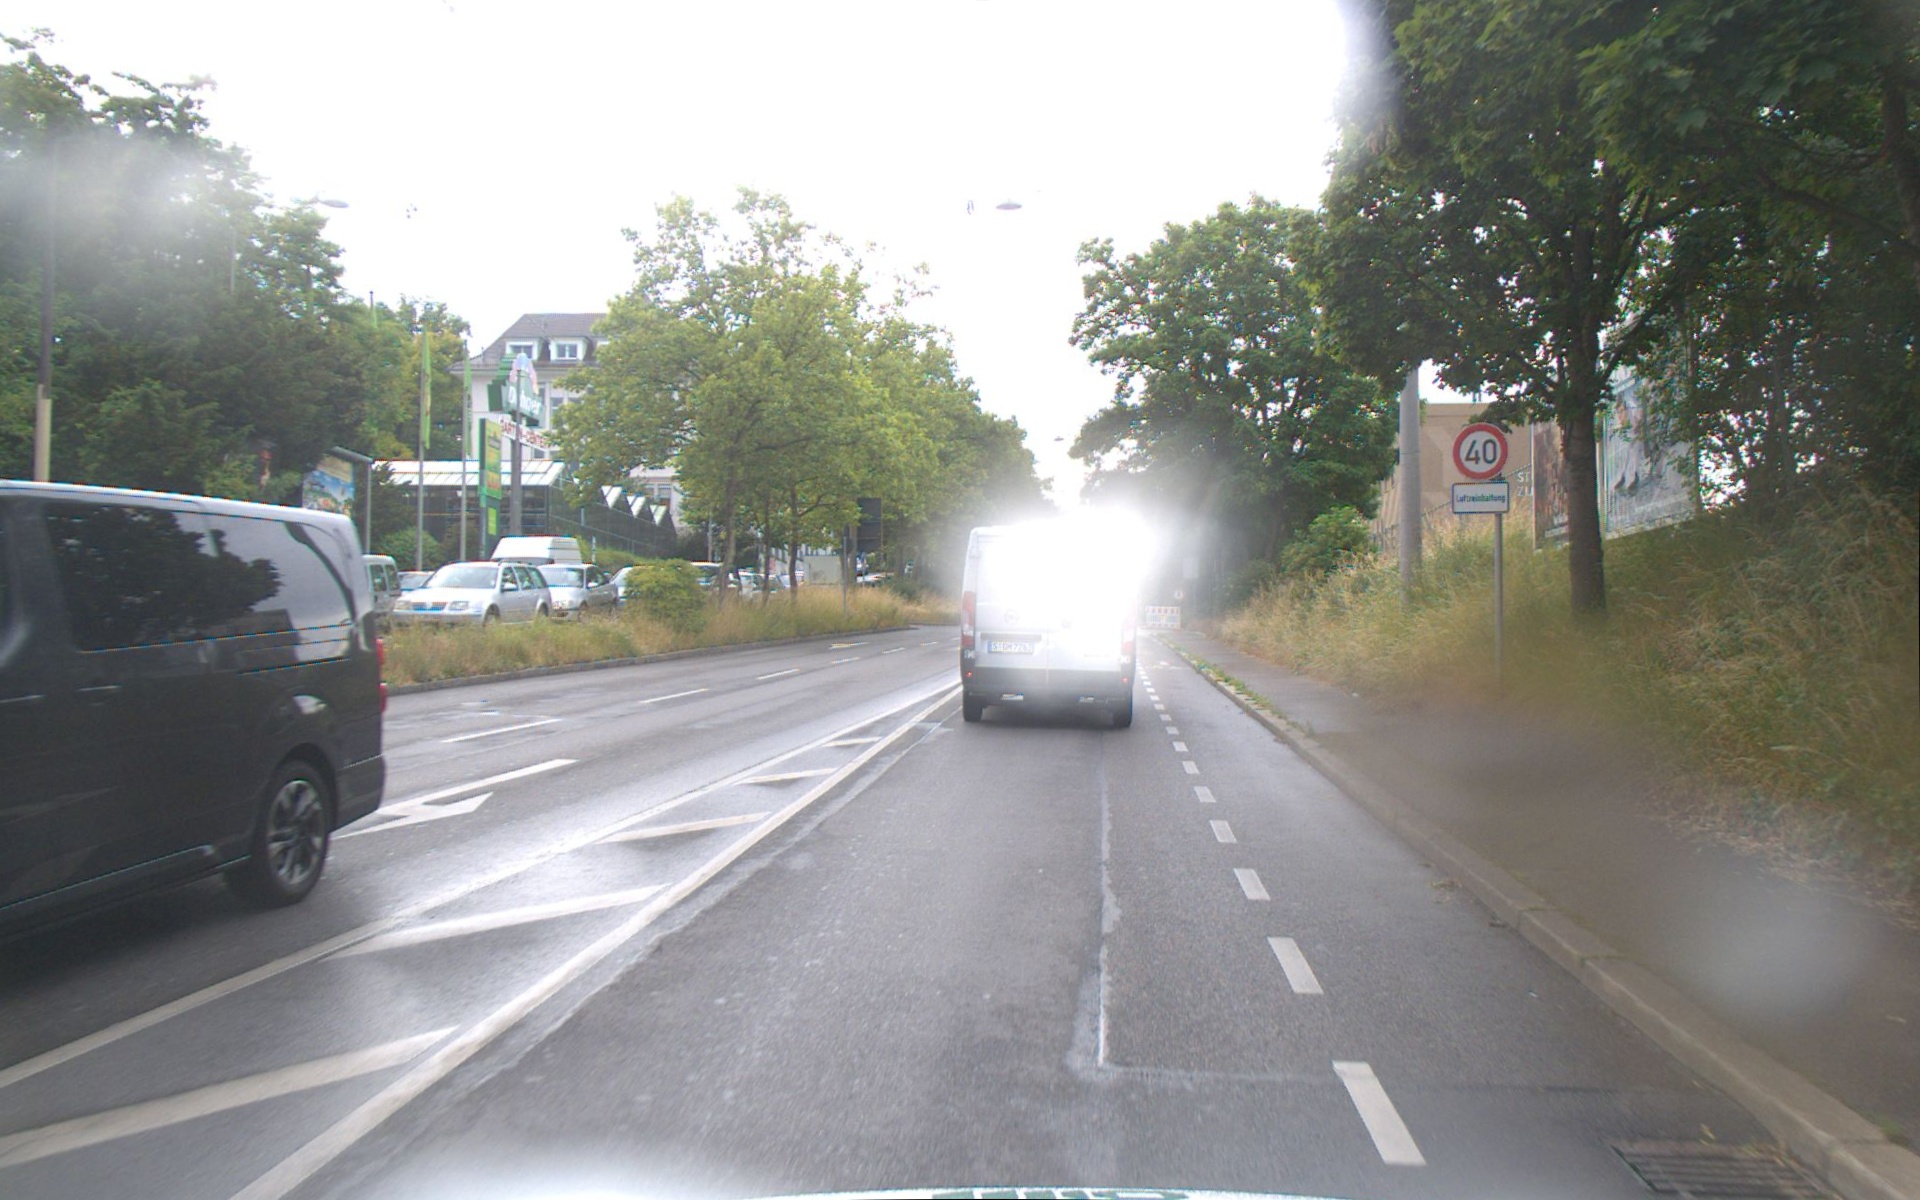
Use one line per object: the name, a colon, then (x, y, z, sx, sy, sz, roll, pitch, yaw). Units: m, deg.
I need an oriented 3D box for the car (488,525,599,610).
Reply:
car: (-12.846, -1.004, 51.368, 1.922, 2.486, 5.656, 0, 1, 1)

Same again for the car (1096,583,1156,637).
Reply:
car: (4.860, 0.320, 48.534, 1.657, 1.451, 3.369, 2, -2, 5)

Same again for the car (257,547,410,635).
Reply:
car: (-12.964, -0.212, 34.454, 1.558, 1.725, 3.783, 0, 1, 3)

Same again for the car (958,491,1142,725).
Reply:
car: (1.080, 0.042, 20.790, 2.007, 2.560, 4.945, 1, 1, 2)

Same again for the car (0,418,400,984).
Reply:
car: (-4.148, 0.337, 6.211, 1.972, 1.899, 5.044, 0, 0, 5)

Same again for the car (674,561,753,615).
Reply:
car: (-7.360, -0.326, 49.639, 1.619, 1.477, 3.646, 0, -2, 3)

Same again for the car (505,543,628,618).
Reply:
car: (-8.622, -0.439, 36.517, 1.558, 1.567, 3.994, 0, 1, 3)

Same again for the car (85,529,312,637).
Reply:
car: (-13.470, -0.325, 29.582, 1.733, 1.776, 4.586, 0, 1, 3)

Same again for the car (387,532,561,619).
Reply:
car: (-8.907, -0.464, 30.681, 1.612, 1.504, 4.446, 0, 1, 4)

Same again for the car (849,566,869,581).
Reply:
car: (-9.238, -2.436, 151.777, 1.566, 1.272, 2.911, 0, -2, 1)

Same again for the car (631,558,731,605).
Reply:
car: (-7.484, -0.487, 44.704, 1.662, 1.226, 4.221, 0, 0, 5)
